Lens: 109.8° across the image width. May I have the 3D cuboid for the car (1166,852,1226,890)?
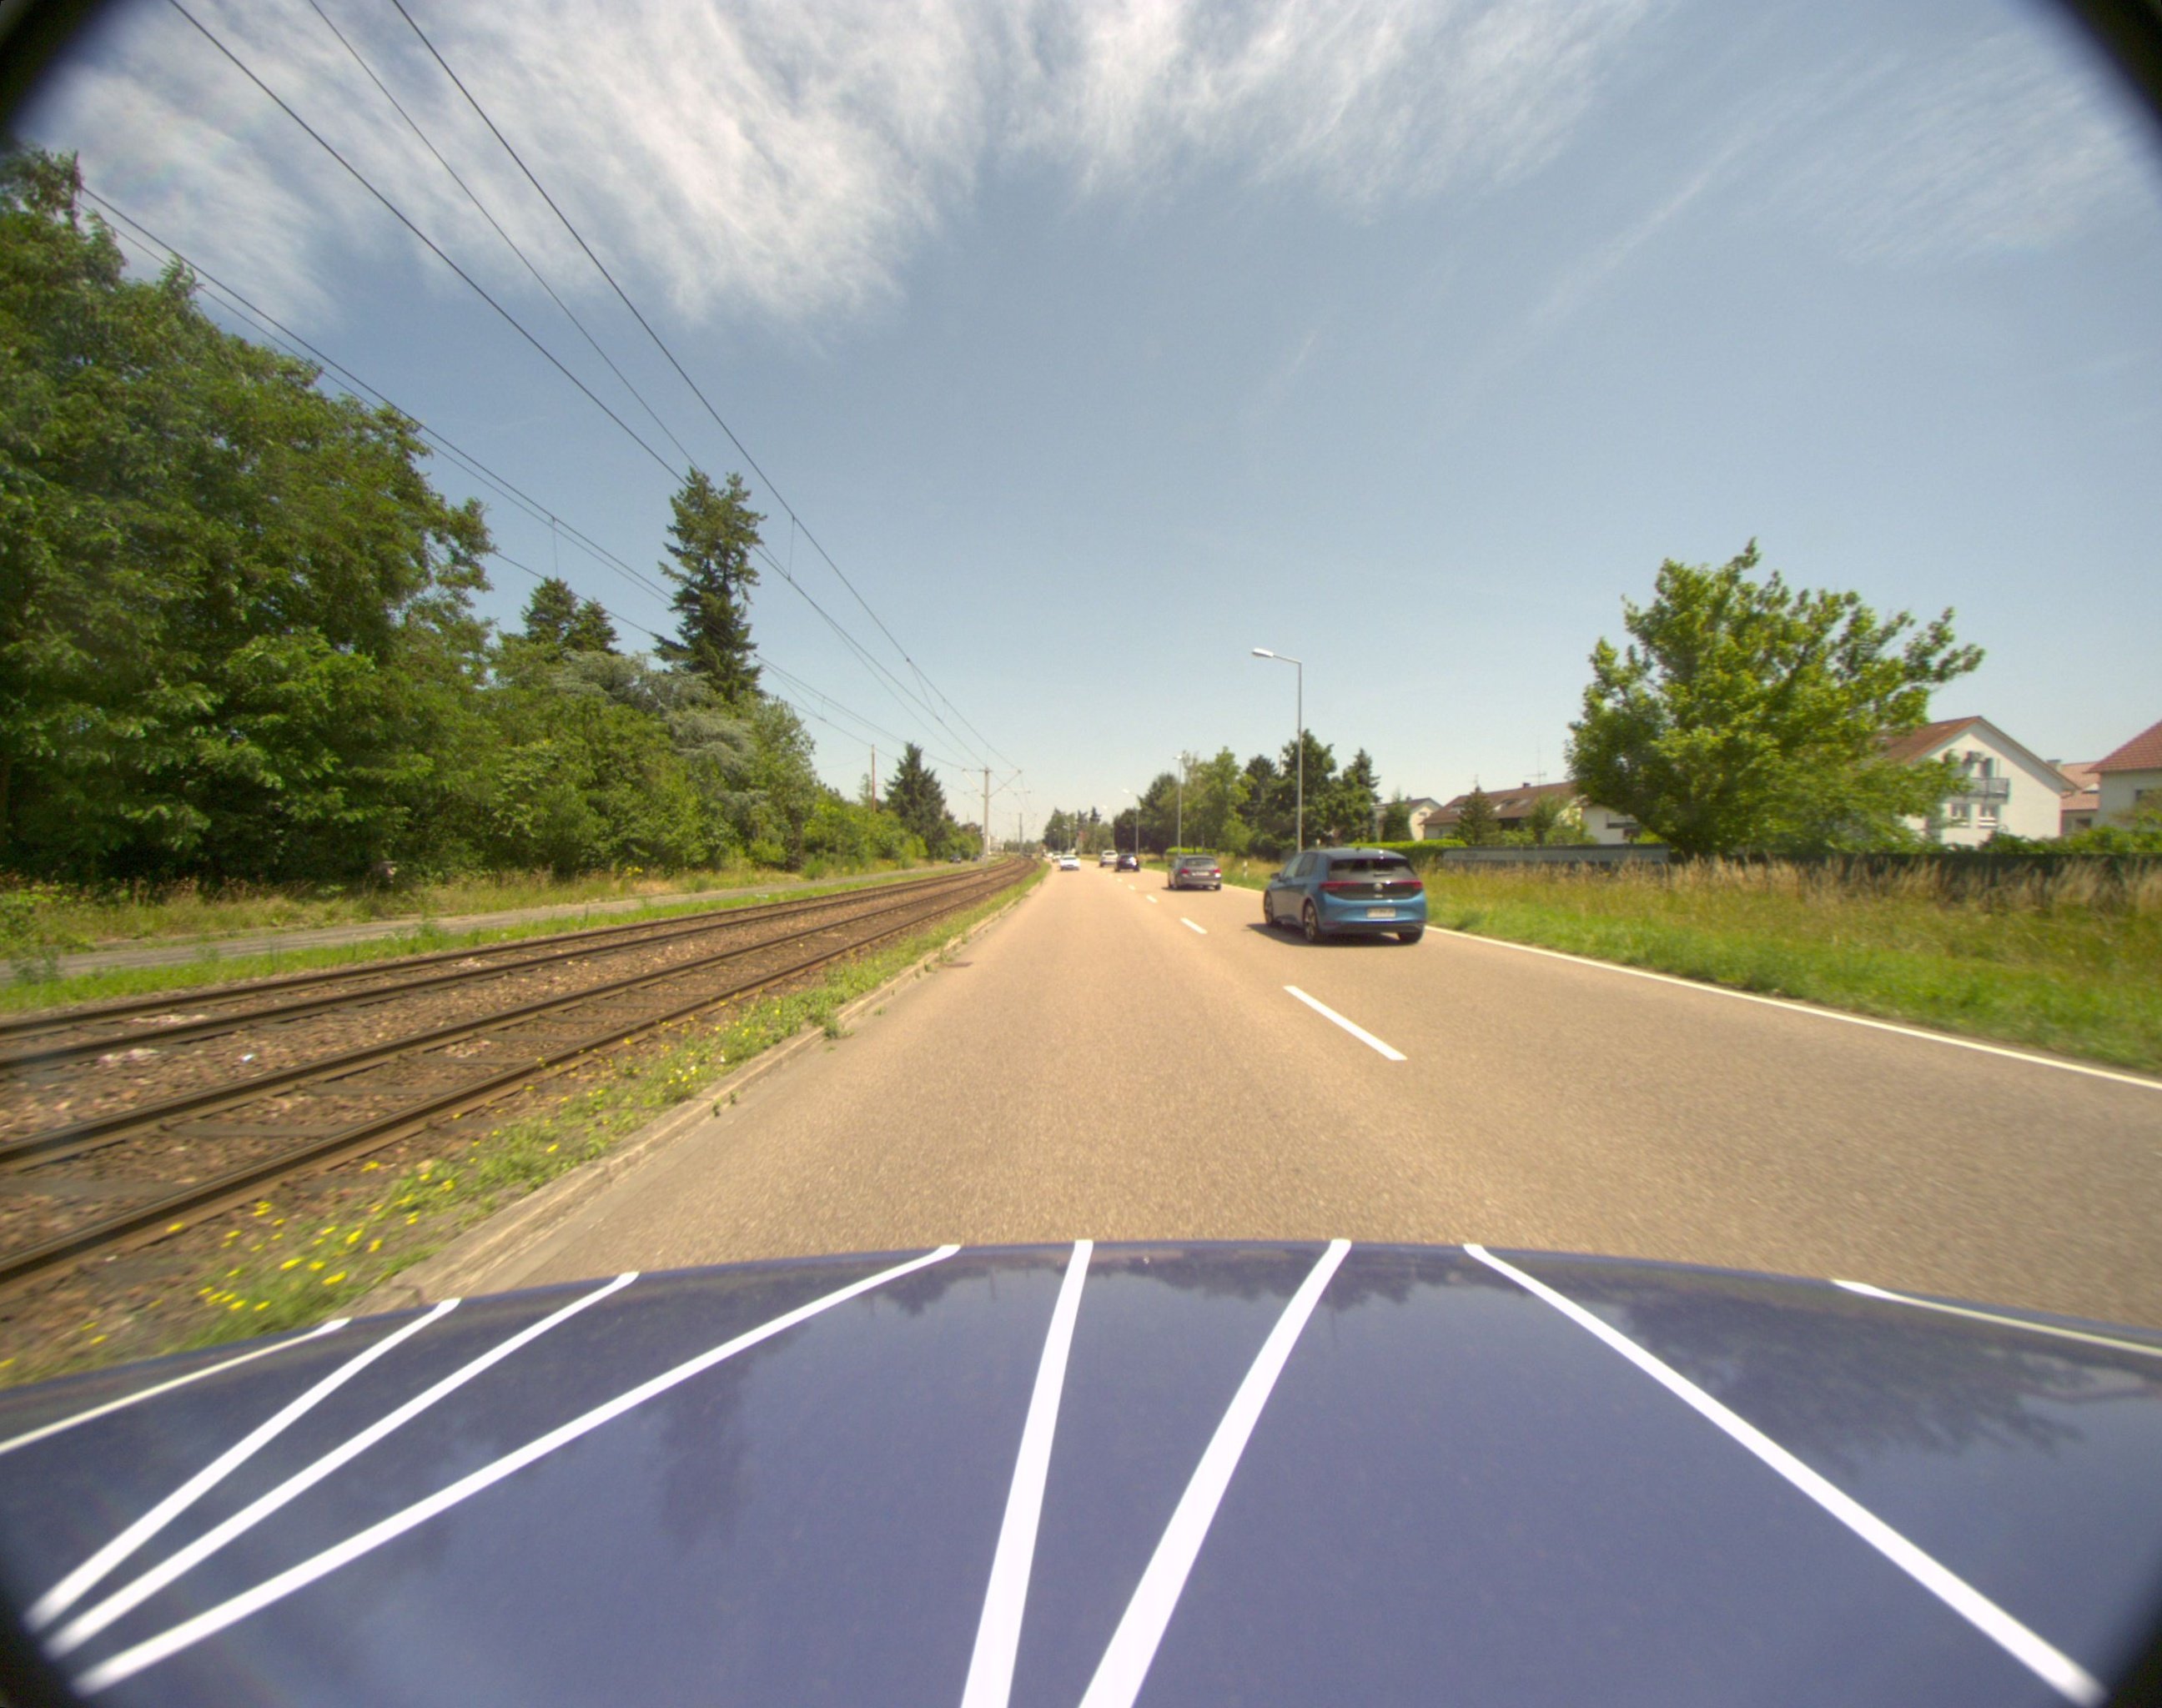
[{"bbox_3d":[4.585,0.640,30.905,1.761,1.414,4.323,-1,0,0],"label":"car"}]

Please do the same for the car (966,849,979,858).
[{"bbox_3d":[-20.945,-0.162,146.719,1.946,1.685,3.998,-2,1,-4],"label":"car"}]

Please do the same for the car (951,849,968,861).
[{"bbox_3d":[-18.694,0.176,117.004,1.999,1.710,3.999,-2,1,0],"label":"car"}]

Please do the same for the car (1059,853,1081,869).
[{"bbox_3d":[-1.056,0.627,73.559,1.955,1.467,4.360,0,0,-3],"label":"car"}]

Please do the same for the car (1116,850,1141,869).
[{"bbox_3d":[3.854,0.401,62.049,1.740,1.487,4.829,0,0,0],"label":"car"}]

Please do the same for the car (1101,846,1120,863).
[{"bbox_3d":[3.146,0.036,82.852,1.844,1.749,4.931,0,0,0],"label":"car"}]

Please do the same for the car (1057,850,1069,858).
[{"bbox_3d":[-3.339,-0.002,137.395,1.892,1.456,3.998,0,0,-5],"label":"car"}]

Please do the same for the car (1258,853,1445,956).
[{"bbox_3d":[4.495,0.753,13.302,1.820,1.496,3.999,-1,0,0],"label":"car"}]
